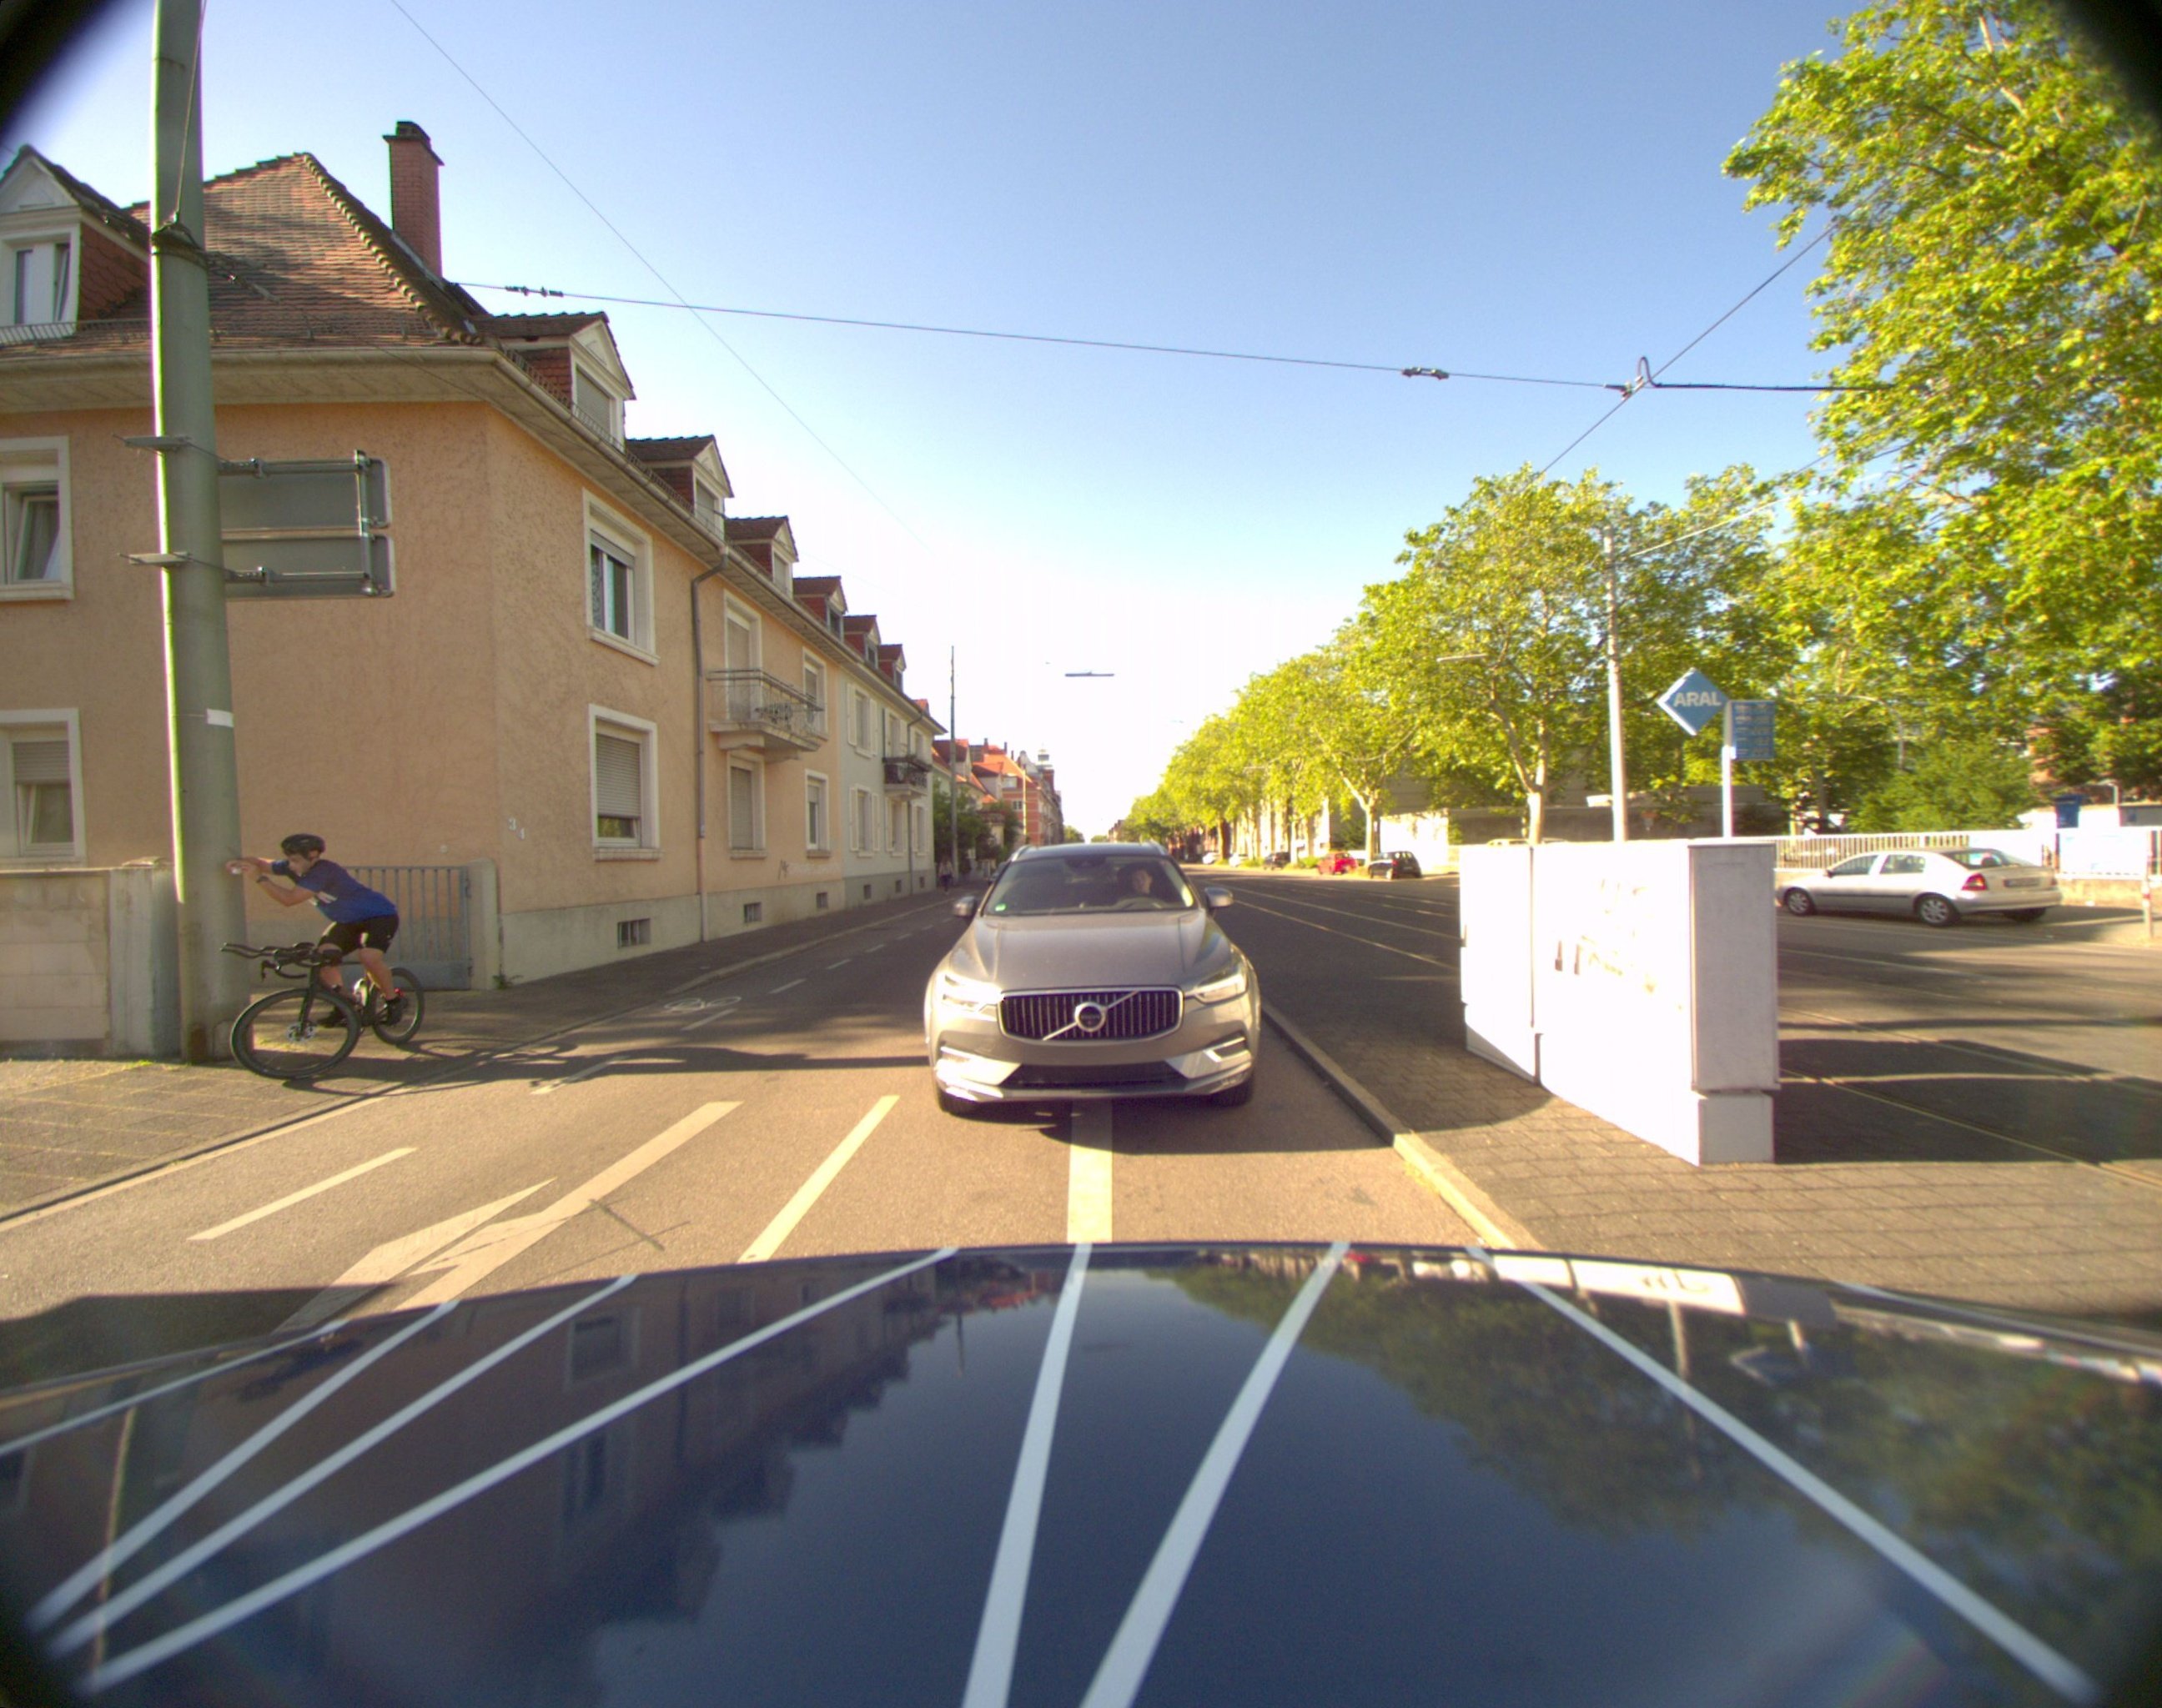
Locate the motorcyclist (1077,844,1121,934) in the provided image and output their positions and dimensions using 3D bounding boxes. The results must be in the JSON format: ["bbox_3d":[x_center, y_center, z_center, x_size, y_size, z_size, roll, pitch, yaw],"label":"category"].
[{"bbox_3d":[0.380,0.715,16.227,0.827,1.832,1.159,-2,1,1],"label":"motorcyclist"}]

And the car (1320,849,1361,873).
[{"bbox_3d":[16.952,0.435,49.751,1.641,1.499,3.046,-1,0,1],"label":"car"}]

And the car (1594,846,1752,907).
[{"bbox_3d":[16.438,0.574,21.341,1.692,1.455,3.519,-4,0,2],"label":"car"}]

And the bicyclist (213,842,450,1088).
[{"bbox_3d":[-6.141,0.858,6.293,1.076,1.854,0.846,2,1,1],"label":"bicyclist"}]

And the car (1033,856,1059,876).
[{"bbox_3d":[-2.742,0.946,60.678,1.785,1.468,4.000,-1,0,1],"label":"car"}]

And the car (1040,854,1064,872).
[{"bbox_3d":[-2.552,0.768,66.832,1.875,1.477,4.000,-1,0,1],"label":"car"}]

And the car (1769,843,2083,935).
[{"bbox_3d":[16.252,0.595,14.993,1.795,1.455,3.966,-4,0,2],"label":"car"}]

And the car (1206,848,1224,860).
[{"bbox_3d":[17.744,-0.006,100.673,1.802,1.504,4.000,-1,0,1],"label":"car"}]

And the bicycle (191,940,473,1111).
[{"bbox_3d":[-5.936,1.298,6.178,0.572,0.986,1.698,2,0,1],"label":"bicycle"}]

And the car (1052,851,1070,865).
[{"bbox_3d":[-2.194,0.453,85.494,1.875,1.477,4.000,-1,0,1],"label":"car"}]

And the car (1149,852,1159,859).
[{"bbox_3d":[16.192,0.369,168.843,1.802,1.504,4.000,-1,0,1],"label":"car"}]

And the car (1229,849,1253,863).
[{"bbox_3d":[17.556,0.224,83.428,1.802,1.489,4.000,-1,0,1],"label":"car"}]

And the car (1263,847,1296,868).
[{"bbox_3d":[17.204,0.288,66.043,1.802,1.652,4.000,-1,0,1],"label":"car"}]

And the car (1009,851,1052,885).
[{"bbox_3d":[-2.780,0.715,42.887,1.751,1.767,5.351,-1,0,3],"label":"car"}]

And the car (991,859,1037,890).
[{"bbox_3d":[-3.203,0.963,37.028,1.647,1.357,3.868,-1,0,4],"label":"car"}]

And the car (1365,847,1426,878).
[{"bbox_3d":[16.891,0.422,40.982,1.826,1.521,3.653,-2,0,1],"label":"car"}]

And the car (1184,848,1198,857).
[{"bbox_3d":[18.208,-0.214,125.630,1.802,1.504,4.000,-1,0,1],"label":"car"}]

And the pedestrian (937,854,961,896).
[{"bbox_3d":[-5.449,0.849,31.380,0.694,1.652,1.098,-2,1,0],"label":"pedestrian"}]

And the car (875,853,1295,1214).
[{"bbox_3d":[0.047,0.848,5.733,1.940,1.650,4.321,-1,0,1],"label":"car"}]

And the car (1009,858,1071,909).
[{"bbox_3d":[-1.302,0.919,25.508,1.762,1.513,4.101,-1,0,1],"label":"car"}]

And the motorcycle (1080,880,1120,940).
[{"bbox_3d":[0.398,1.154,16.253,0.792,1.095,2.519,0,0,1],"label":"motorcycle"}]
